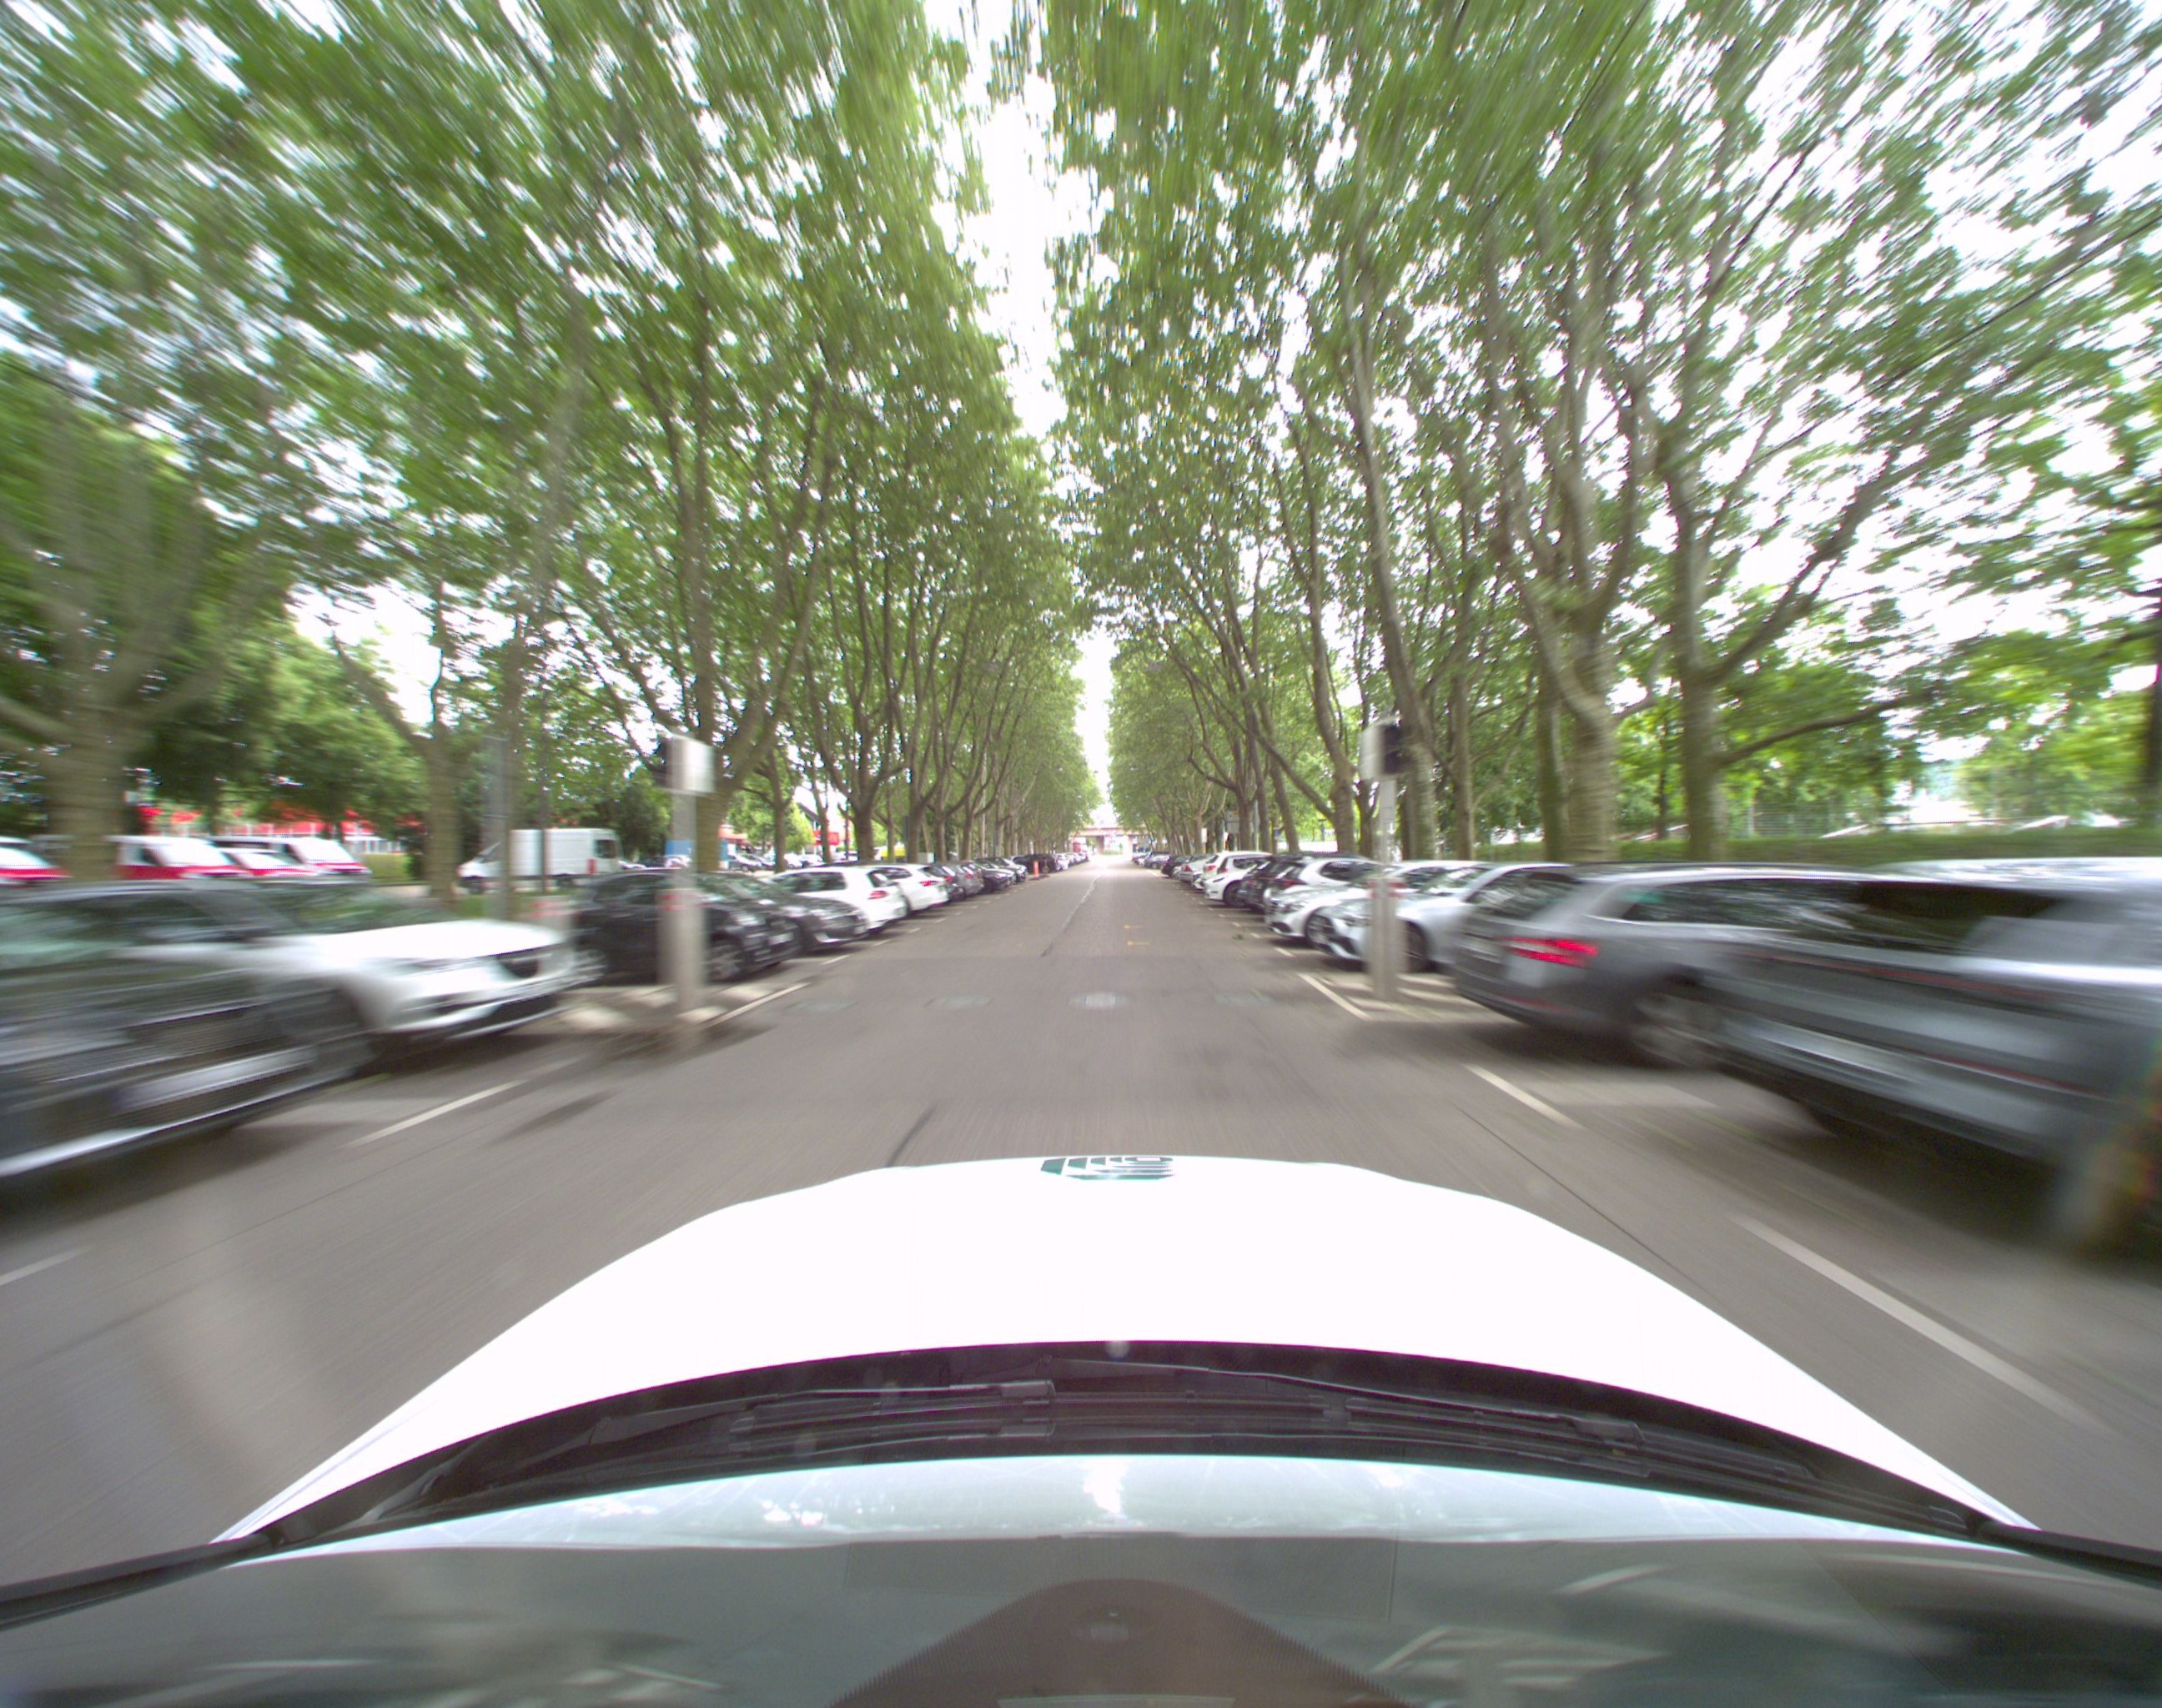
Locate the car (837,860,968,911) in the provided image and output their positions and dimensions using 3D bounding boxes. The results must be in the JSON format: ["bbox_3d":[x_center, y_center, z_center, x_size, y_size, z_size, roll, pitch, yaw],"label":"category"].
[{"bbox_3d":[-5.772,0.997,26.663,3.814,1.429,1.802,-2,0,0],"label":"car"}]

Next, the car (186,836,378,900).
[{"bbox_3d":[-32.763,0.561,33.502,5.979,2.527,2.001,0,0,1],"label":"car"}]

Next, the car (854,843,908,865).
[{"bbox_3d":[-20.201,0.001,82.387,5.060,2.232,1.536,0,0,0],"label":"car"}]

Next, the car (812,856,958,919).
[{"bbox_3d":[-5.703,0.944,24.076,3.816,1.608,1.858,-2,0,-2],"label":"car"}]

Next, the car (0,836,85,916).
[{"bbox_3d":[-33.096,0.602,23.637,5.979,2.240,2.001,0,0,1],"label":"car"}]

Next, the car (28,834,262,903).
[{"bbox_3d":[-32.644,0.487,28.529,5.979,2.330,2.001,0,0,1],"label":"car"}]

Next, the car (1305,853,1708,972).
[{"bbox_3d":[5.538,0.725,11.011,4.597,1.470,1.650,0,0,1],"label":"car"}]

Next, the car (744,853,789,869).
[{"bbox_3d":[-30.426,0.678,78.899,3.743,1.590,1.535,0,0,-1],"label":"car"}]

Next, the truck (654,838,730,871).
[{"bbox_3d":[-32.214,0.028,67.475,5.216,2.742,2.207,0,0,2],"label":"truck"}]

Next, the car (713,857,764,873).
[{"bbox_3d":[-30.002,0.928,71.428,3.742,1.349,1.536,0,0,0],"label":"car"}]

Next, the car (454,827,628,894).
[{"bbox_3d":[-21.844,0.245,33.067,5.763,2.597,2.001,0,0,2],"label":"car"}]

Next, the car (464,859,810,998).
[{"bbox_3d":[-6.028,0.969,11.399,3.815,1.608,1.694,-2,0,-1],"label":"car"}]

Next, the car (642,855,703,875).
[{"bbox_3d":[-31.113,0.841,62.070,3.789,1.486,1.713,0,0,1],"label":"car"}]

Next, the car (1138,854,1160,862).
[{"bbox_3d":[13.162,0.679,157.577,4.358,1.523,1.732,0,0,3],"label":"car"}]

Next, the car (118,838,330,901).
[{"bbox_3d":[-32.443,0.551,30.940,5.979,2.305,2.001,0,0,1],"label":"car"}]

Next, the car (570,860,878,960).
[{"bbox_3d":[-5.871,0.893,13.781,4.388,1.365,1.694,-2,0,-1],"label":"car"}]

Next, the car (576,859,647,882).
[{"bbox_3d":[-31.555,1.074,54.835,3.789,1.486,1.679,0,0,0],"label":"car"}]

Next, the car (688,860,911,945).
[{"bbox_3d":[-5.529,0.929,16.360,3.815,1.429,1.694,-2,0,-1],"label":"car"}]

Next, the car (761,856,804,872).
[{"bbox_3d":[-29.837,0.964,81.420,3.743,1.590,1.535,0,0,-1],"label":"car"}]

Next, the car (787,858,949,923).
[{"bbox_3d":[-5.595,0.941,21.761,3.815,1.497,1.694,-2,0,-1],"label":"car"}]

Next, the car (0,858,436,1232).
[{"bbox_3d":[-6.224,0.912,4.455,3.815,1.608,1.833,-2,0,-1],"label":"car"}]

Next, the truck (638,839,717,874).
[{"bbox_3d":[-31.993,0.184,64.712,5.292,2.742,1.929,0,0,2],"label":"truck"}]

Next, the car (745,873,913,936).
[{"bbox_3d":[-5.703,1.121,18.694,3.306,1.202,1.584,-2,0,-2],"label":"car"}]

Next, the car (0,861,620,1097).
[{"bbox_3d":[-6.486,0.948,6.963,4.031,1.608,1.694,-2,-1,-1],"label":"car"}]

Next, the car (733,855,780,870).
[{"bbox_3d":[-30.470,0.796,76.470,3.743,1.349,1.535,0,0,-1],"label":"car"}]

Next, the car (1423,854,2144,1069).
[{"bbox_3d":[5.228,0.744,6.495,4.350,1.470,1.624,0,0,1],"label":"car"}]

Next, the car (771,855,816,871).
[{"bbox_3d":[-29.790,0.948,84.416,3.962,1.590,1.699,0,0,10],"label":"car"}]

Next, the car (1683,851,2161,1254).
[{"bbox_3d":[5.285,0.724,3.776,3.761,1.470,1.668,0,0,1],"label":"car"}]

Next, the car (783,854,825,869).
[{"bbox_3d":[-29.562,0.768,86.996,3.962,1.590,1.699,0,0,10],"label":"car"}]

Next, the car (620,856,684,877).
[{"bbox_3d":[-31.314,0.910,59.533,3.789,1.486,1.679,0,0,0],"label":"car"}]

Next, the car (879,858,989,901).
[{"bbox_3d":[-5.645,0.971,31.496,3.807,1.429,1.697,-2,0,6],"label":"car"}]
